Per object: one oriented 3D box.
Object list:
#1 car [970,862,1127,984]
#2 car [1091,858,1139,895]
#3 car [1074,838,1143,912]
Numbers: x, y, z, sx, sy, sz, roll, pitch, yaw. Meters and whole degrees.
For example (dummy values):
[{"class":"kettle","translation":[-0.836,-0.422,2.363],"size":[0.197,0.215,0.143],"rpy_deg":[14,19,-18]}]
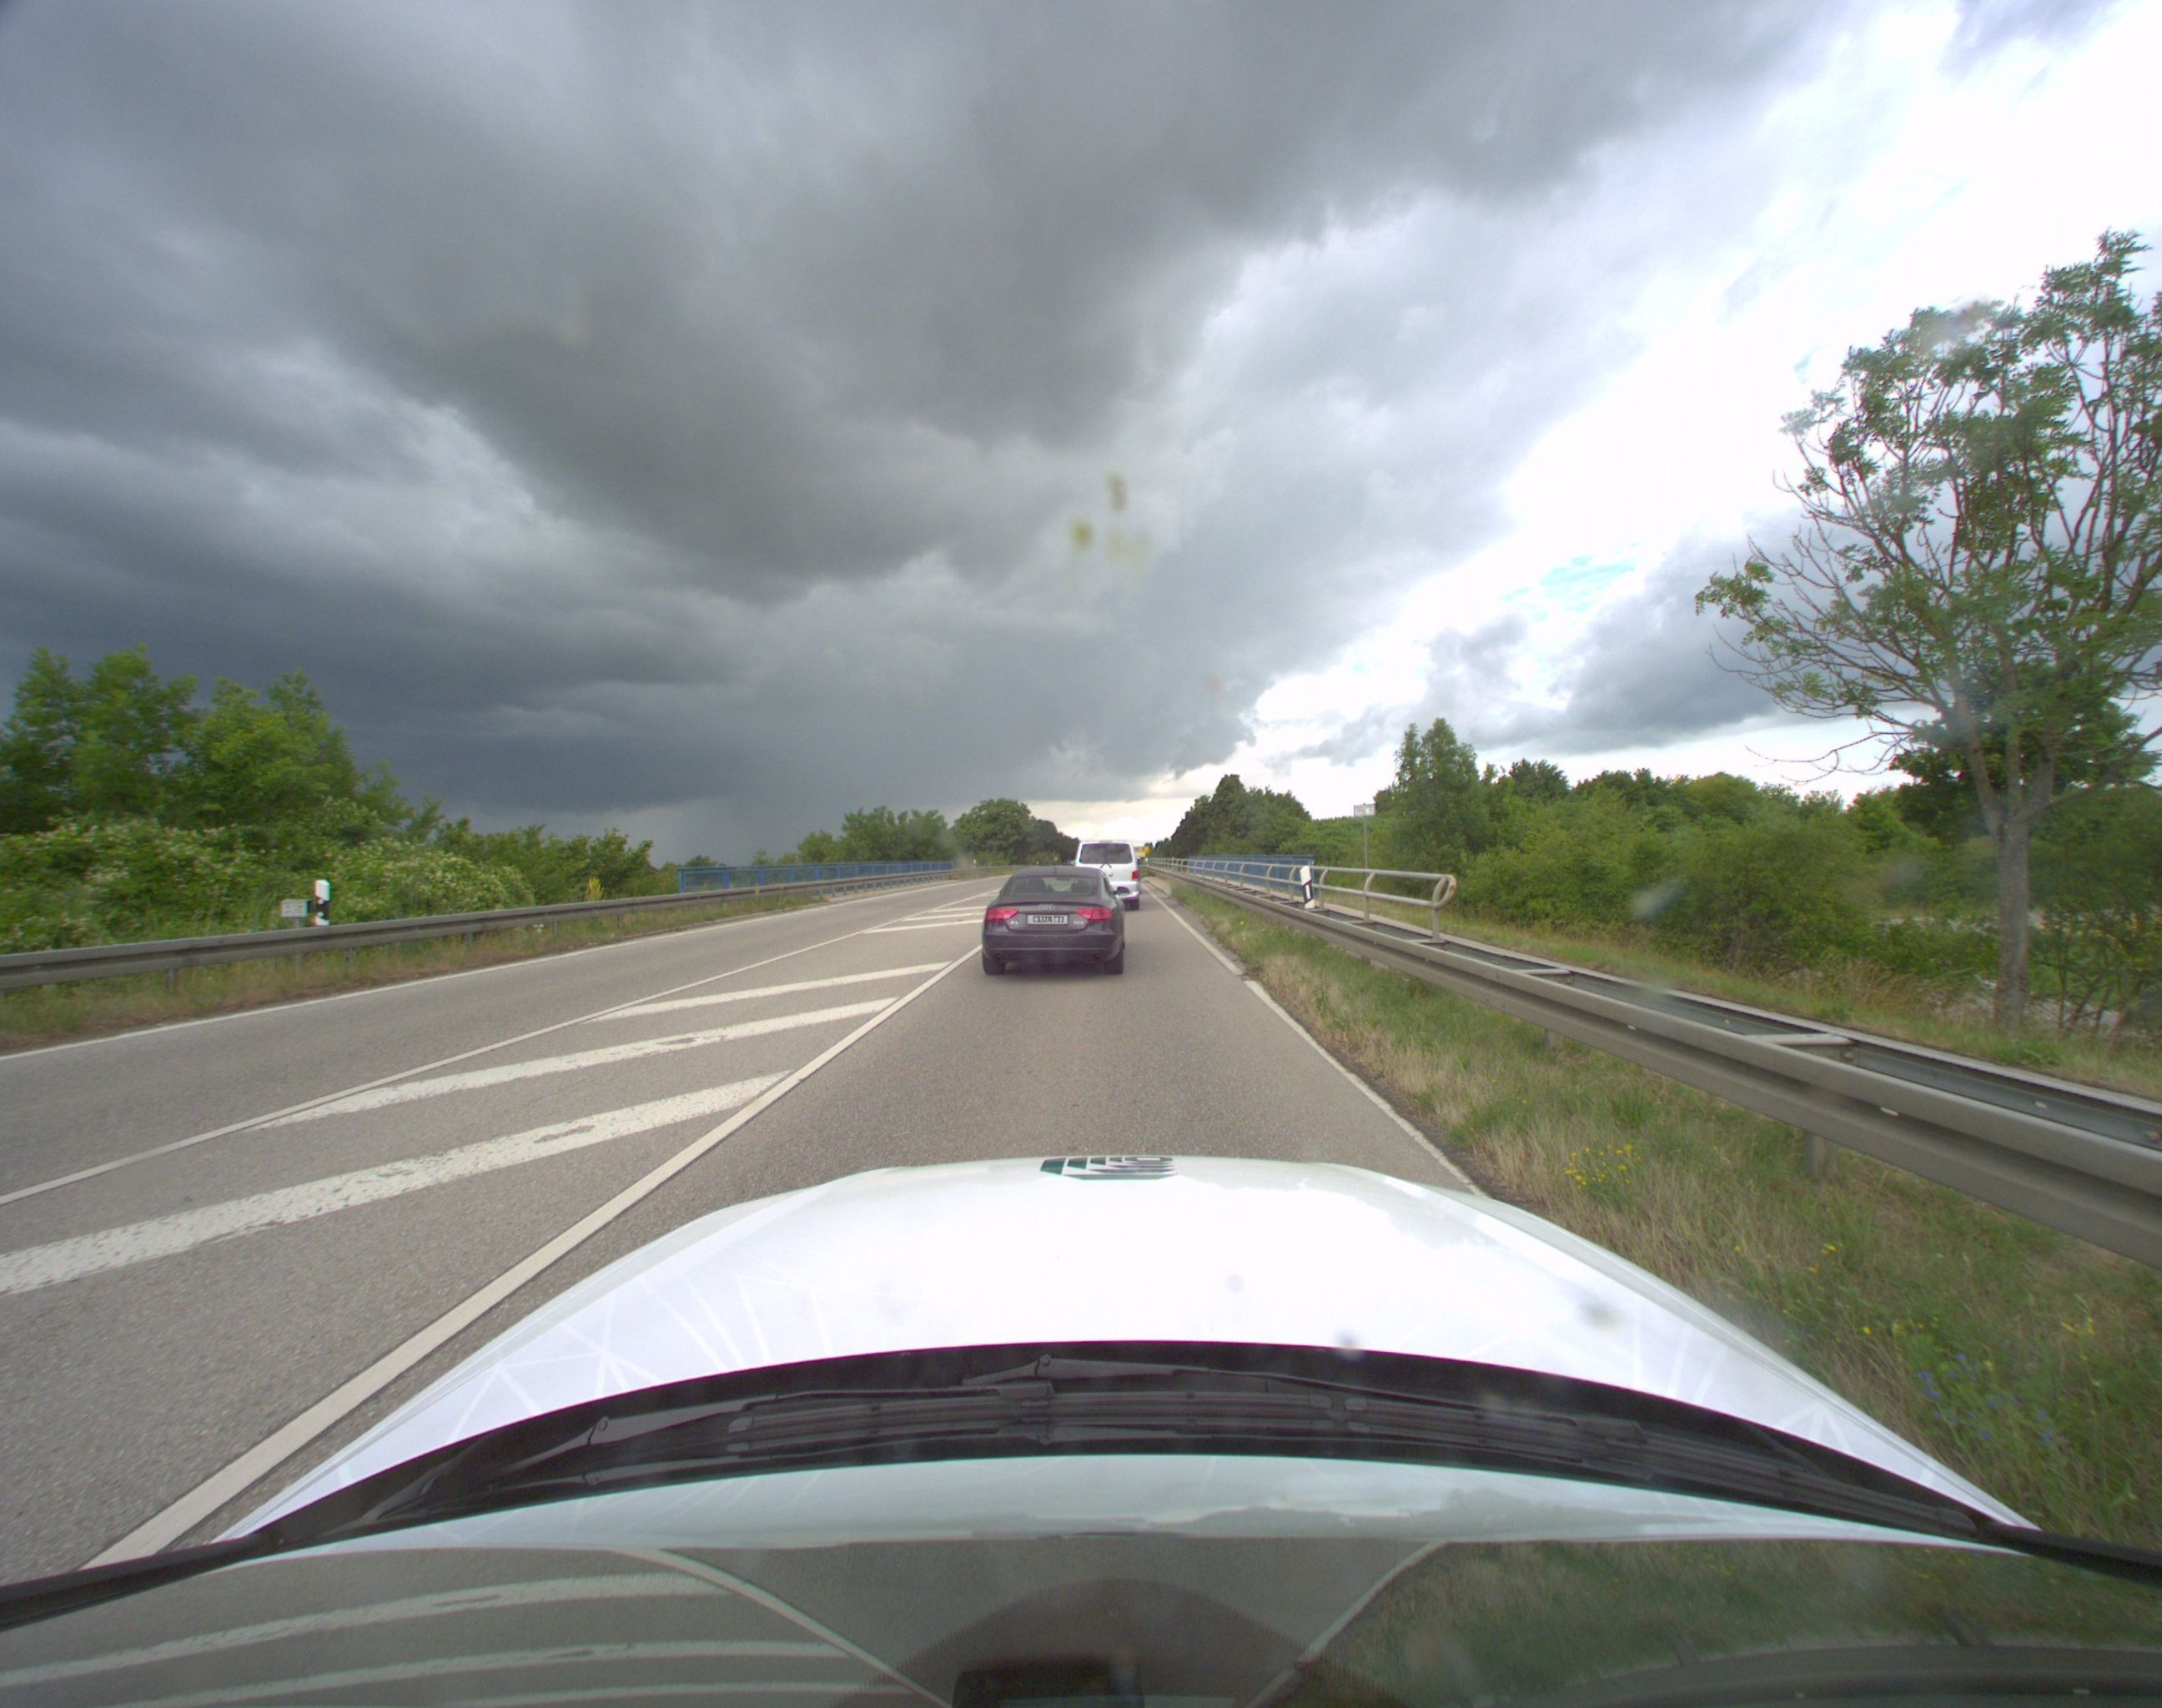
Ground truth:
[{"class":"car","translation":[-0.275,0.839,11.647],"size":[1.814,1.381,4.075],"rpy_deg":[-1,0,3]},{"class":"car","translation":[1.435,0.872,33.293],"size":[1.814,1.381,4.075],"rpy_deg":[-1,0,3]},{"class":"car","translation":[0.808,0.579,23.918],"size":[1.821,1.935,4.002],"rpy_deg":[-1,0,2]}]
